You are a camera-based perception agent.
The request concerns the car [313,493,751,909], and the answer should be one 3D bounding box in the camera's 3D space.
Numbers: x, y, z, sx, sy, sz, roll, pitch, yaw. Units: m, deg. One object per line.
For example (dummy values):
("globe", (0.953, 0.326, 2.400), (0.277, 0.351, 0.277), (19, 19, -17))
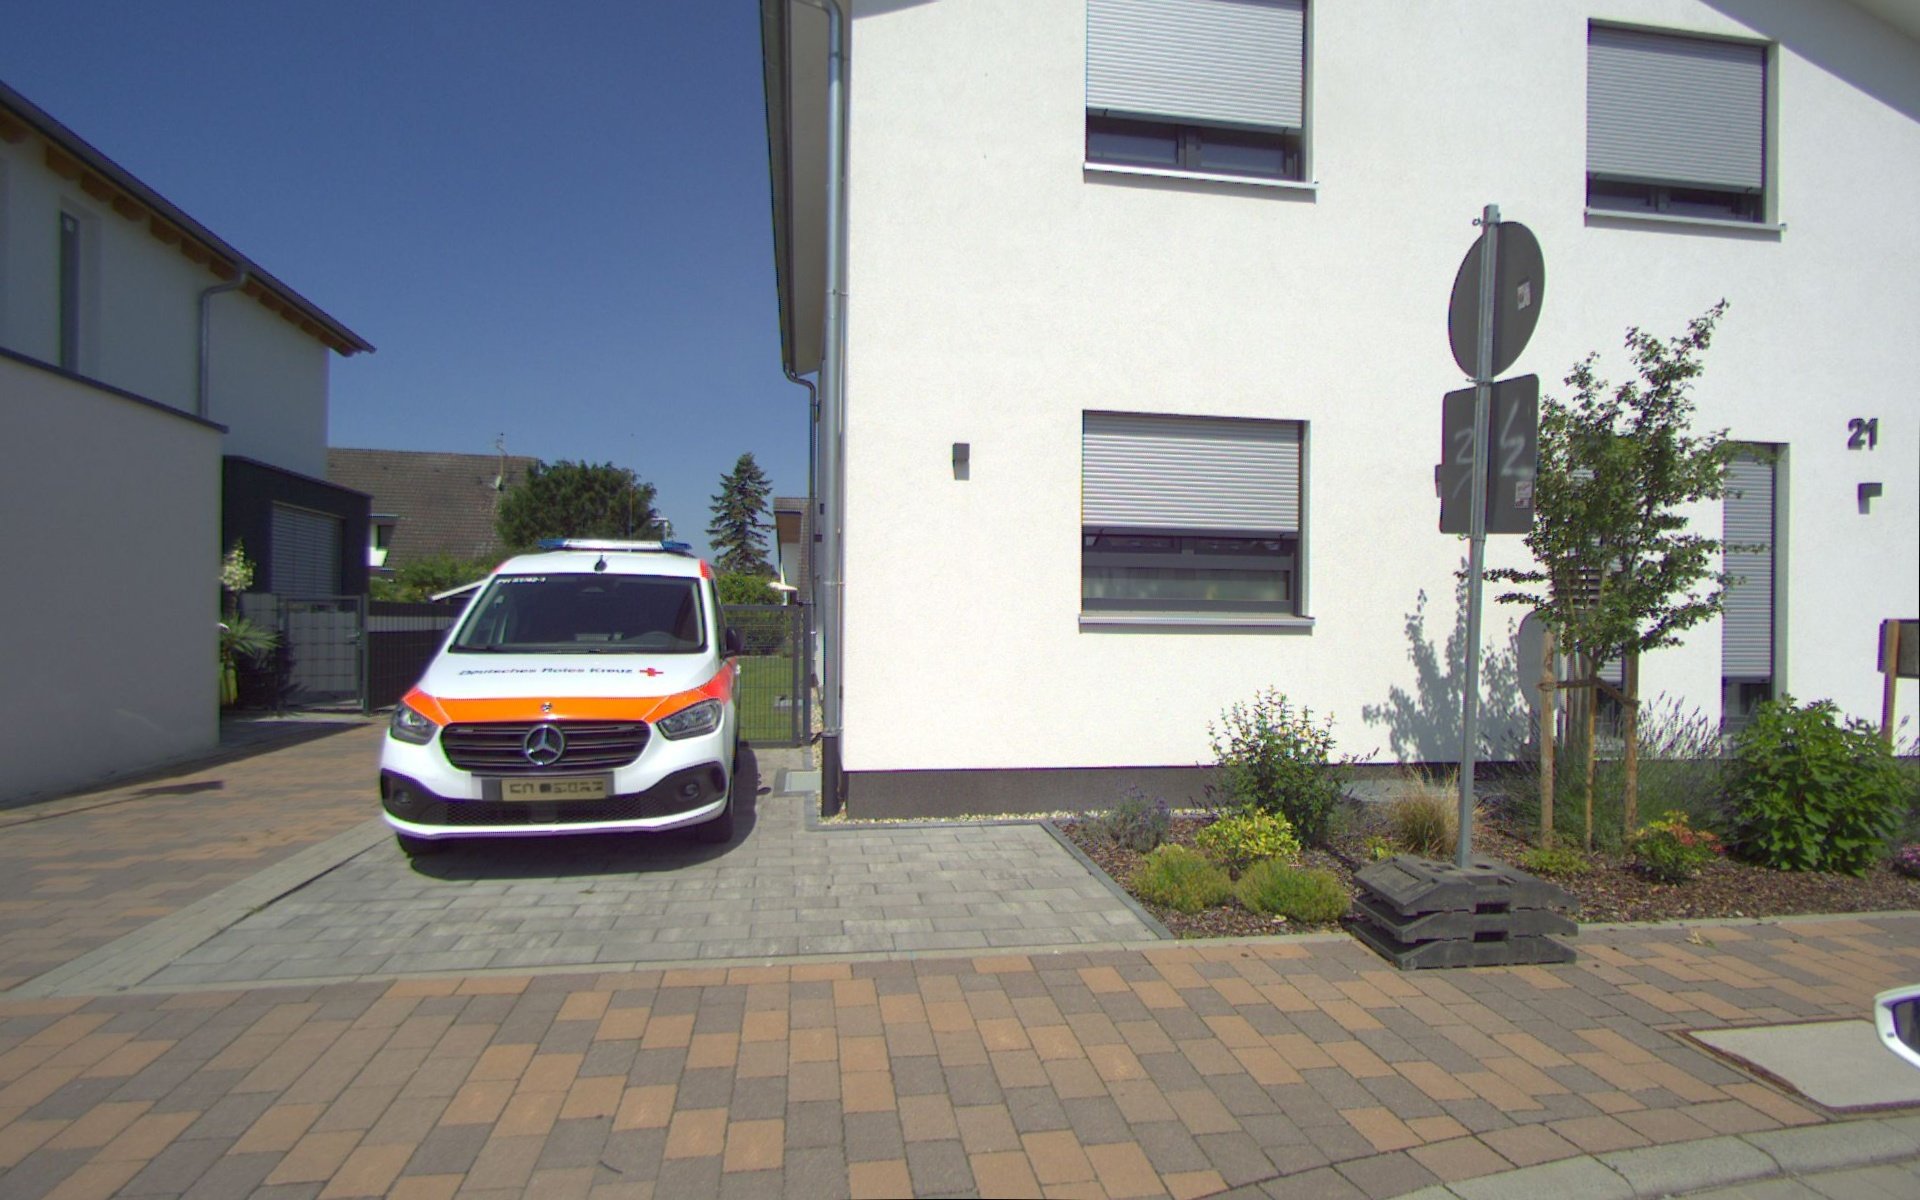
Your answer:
("car", (-2.478, 0.517, 7.116), (1.904, 1.899, 4.742), (1, -1, -12))
